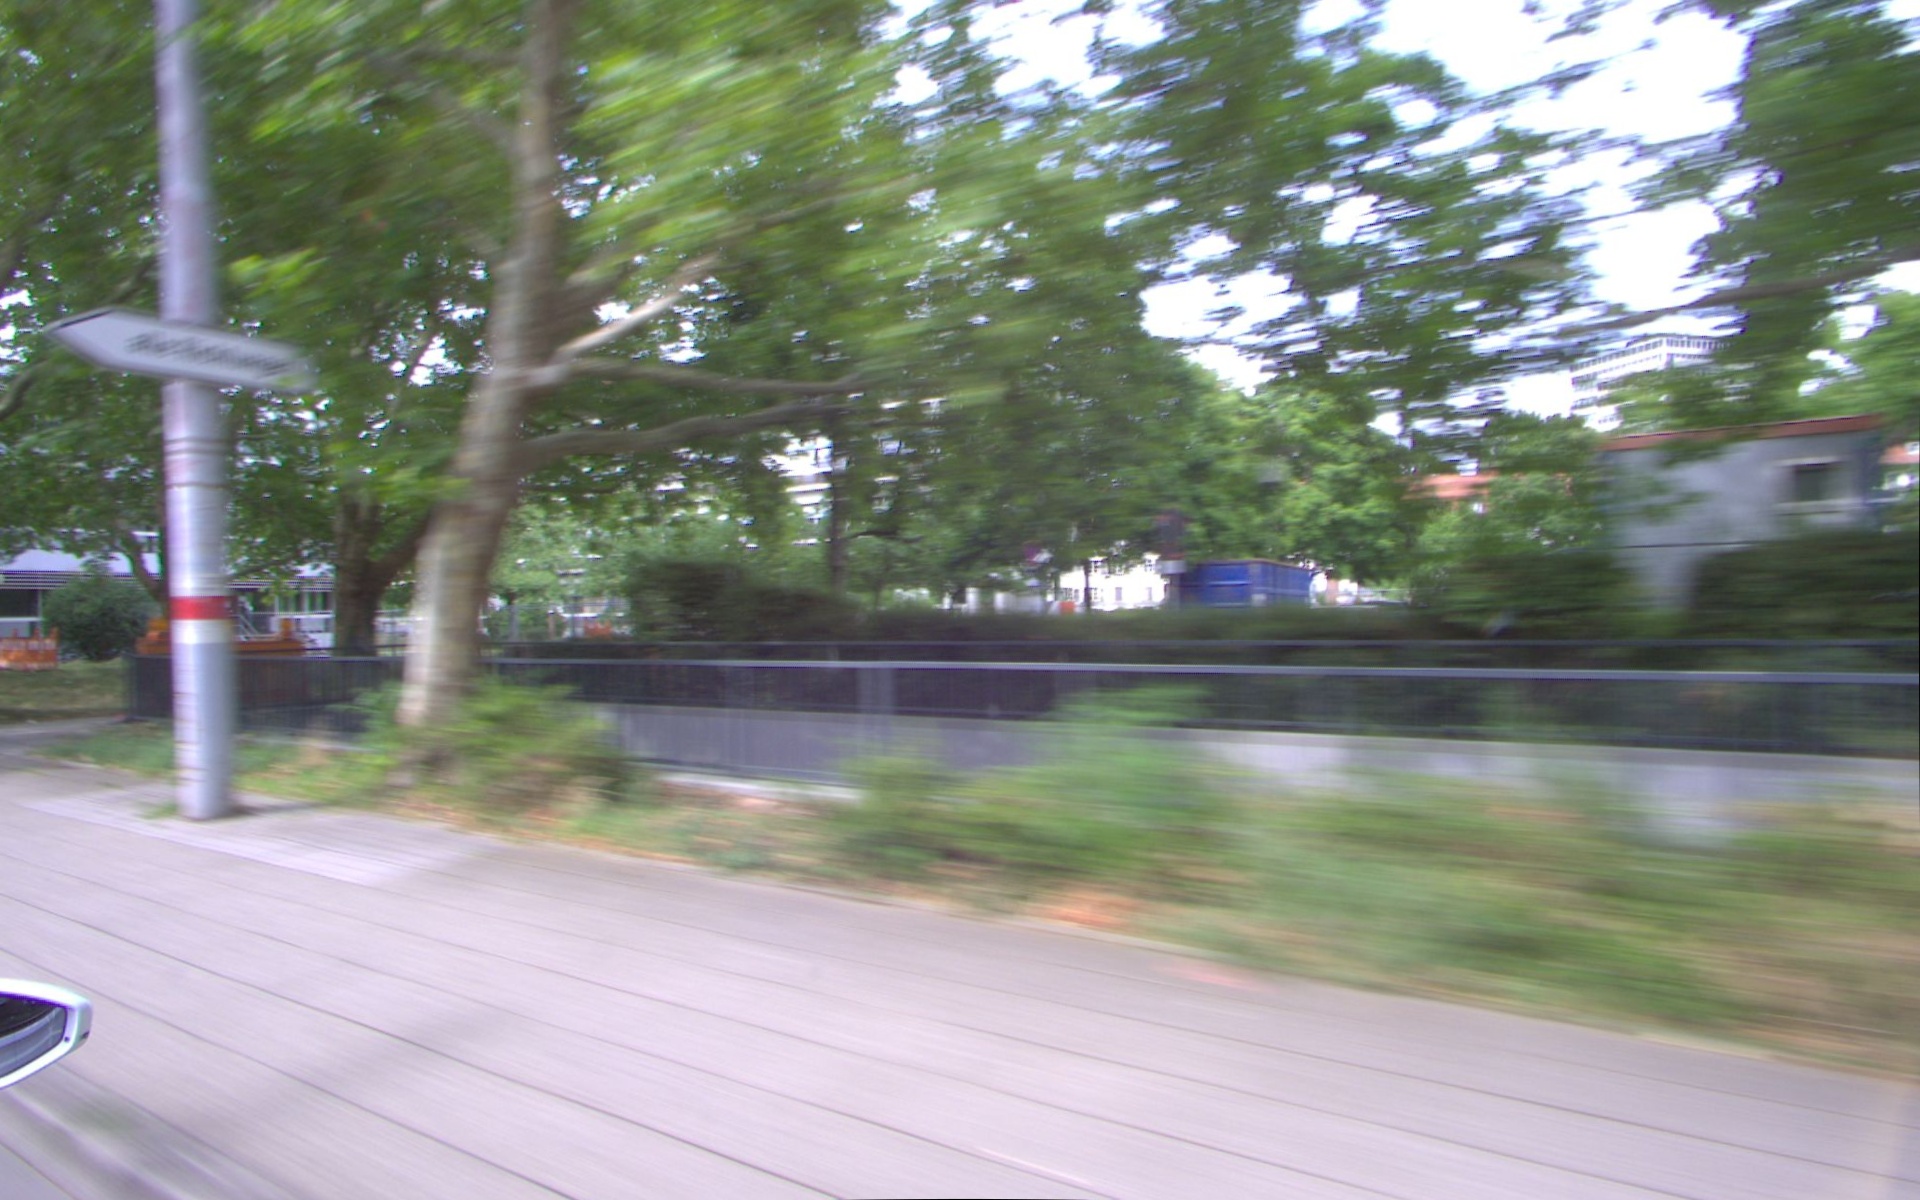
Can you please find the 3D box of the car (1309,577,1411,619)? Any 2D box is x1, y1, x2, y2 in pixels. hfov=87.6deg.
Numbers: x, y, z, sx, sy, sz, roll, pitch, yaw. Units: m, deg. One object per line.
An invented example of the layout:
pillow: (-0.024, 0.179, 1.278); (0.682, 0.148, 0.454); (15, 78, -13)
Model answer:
car: (20.582, -0.047, 51.570); (4.699, 2.039, 1.993); (-1, -2, 28)

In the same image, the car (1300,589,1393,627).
car: (17.385, 0.399, 45.050); (3.731, 1.600, 1.993); (-1, -2, 28)
